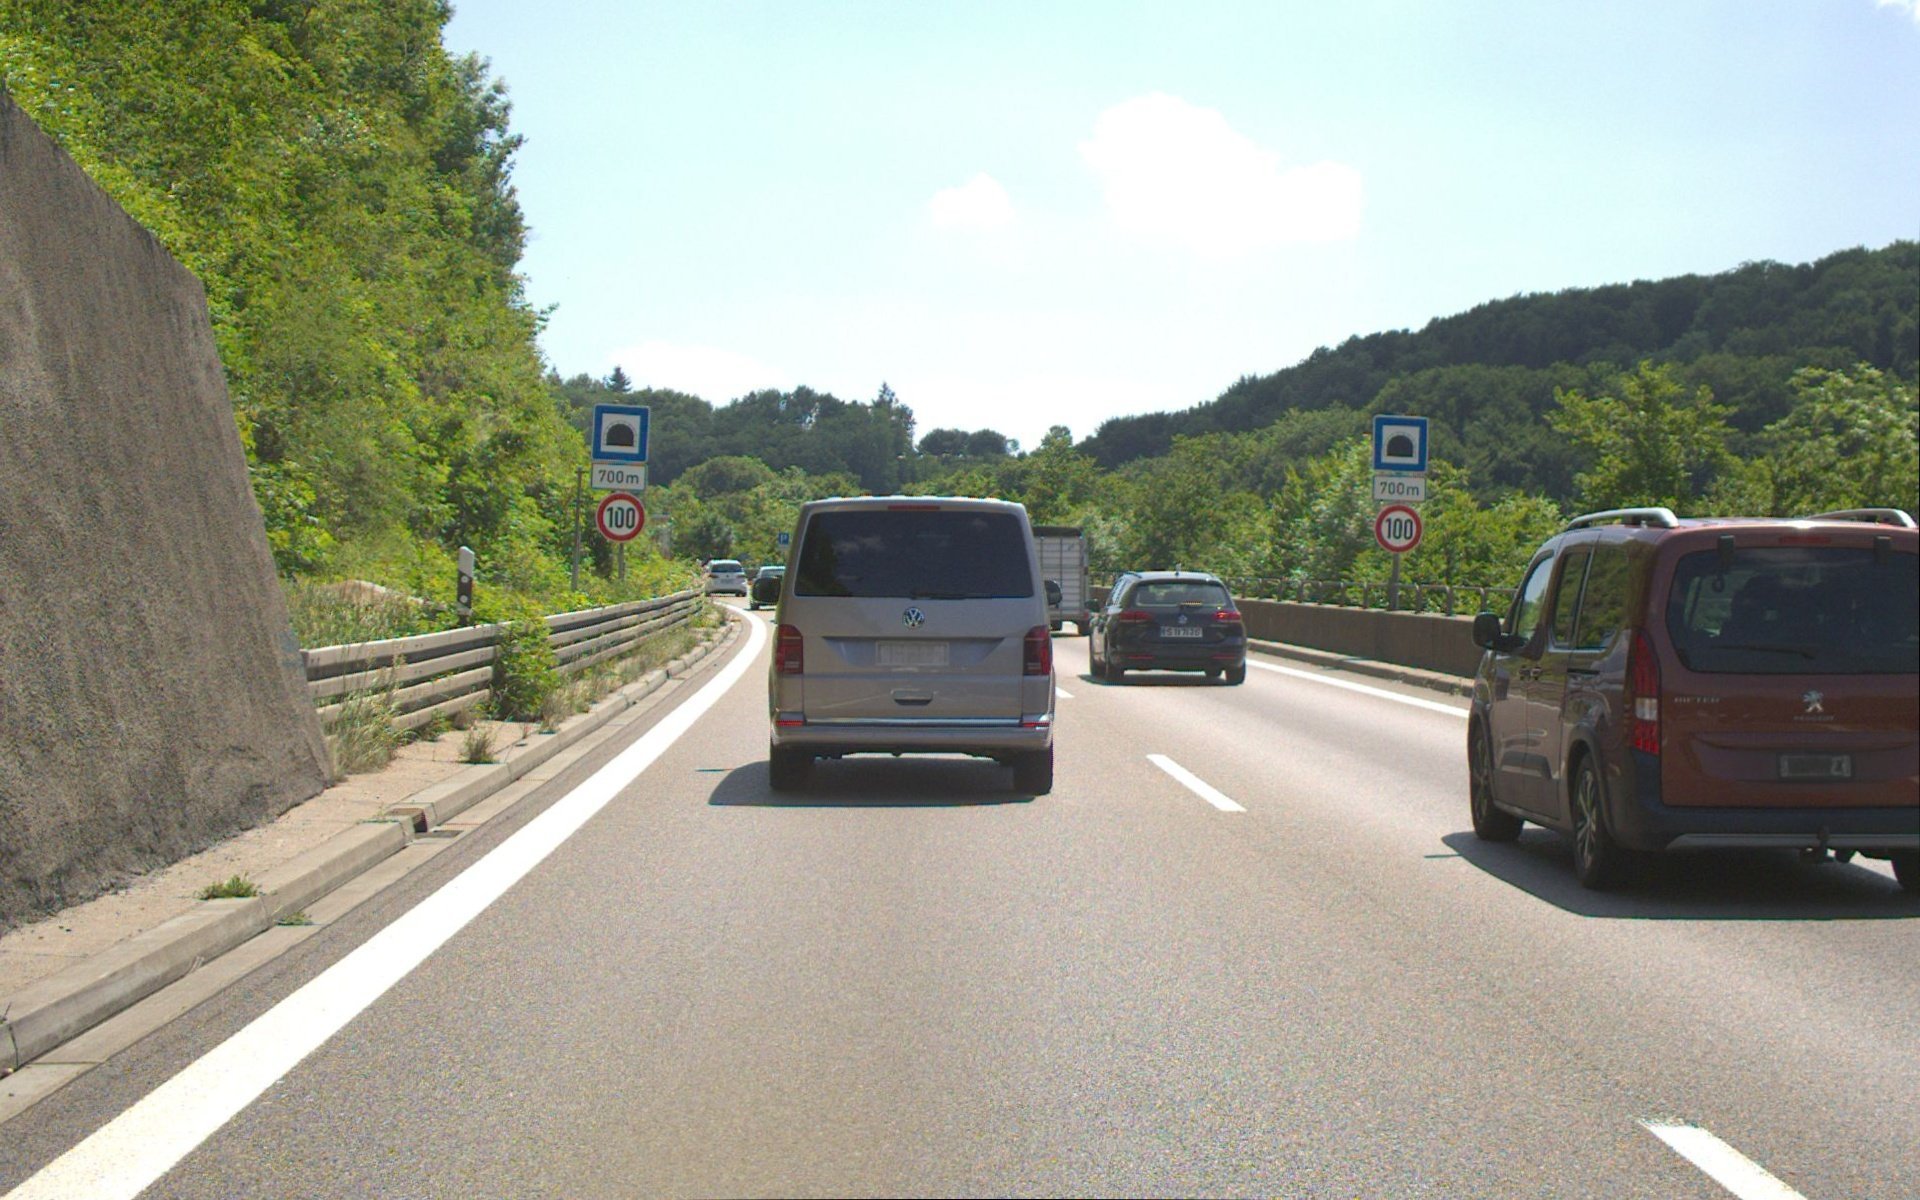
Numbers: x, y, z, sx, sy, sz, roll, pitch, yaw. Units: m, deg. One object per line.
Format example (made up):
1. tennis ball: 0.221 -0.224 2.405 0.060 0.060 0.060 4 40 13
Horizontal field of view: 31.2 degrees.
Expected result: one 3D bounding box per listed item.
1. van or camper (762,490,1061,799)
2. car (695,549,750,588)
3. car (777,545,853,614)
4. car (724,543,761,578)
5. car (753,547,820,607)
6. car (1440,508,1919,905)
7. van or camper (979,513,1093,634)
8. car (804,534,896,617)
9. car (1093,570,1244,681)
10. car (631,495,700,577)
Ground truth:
1. van or camper: -0.365 0.261 23.875 1.875 1.943 4.294 0 1 -2
2. car: -10.176 -1.347 147.030 2.142 1.601 5.079 -1 0 -6
3. car: -3.924 -0.570 92.676 1.993 1.811 4.001 1 1 -3
4. car: -12.742 -2.305 201.080 1.993 2.007 4.001 1 1 -5
5. car: -5.702 -0.774 112.458 1.993 1.908 4.001 1 1 -5
6. car: 3.794 0.471 17.804 1.833 1.778 4.676 0 0 -2
7. van or camper: 1.630 -0.580 75.354 2.263 2.542 4.737 -1 0 -1
8. car: -2.521 -0.558 77.875 1.993 1.811 4.001 1 1 -3
9. car: 2.716 0.310 45.332 1.768 1.371 3.593 1 1 0
10. car: -18.194 -3.927 211.608 4.042 4.855 10.111 1 1 -6
